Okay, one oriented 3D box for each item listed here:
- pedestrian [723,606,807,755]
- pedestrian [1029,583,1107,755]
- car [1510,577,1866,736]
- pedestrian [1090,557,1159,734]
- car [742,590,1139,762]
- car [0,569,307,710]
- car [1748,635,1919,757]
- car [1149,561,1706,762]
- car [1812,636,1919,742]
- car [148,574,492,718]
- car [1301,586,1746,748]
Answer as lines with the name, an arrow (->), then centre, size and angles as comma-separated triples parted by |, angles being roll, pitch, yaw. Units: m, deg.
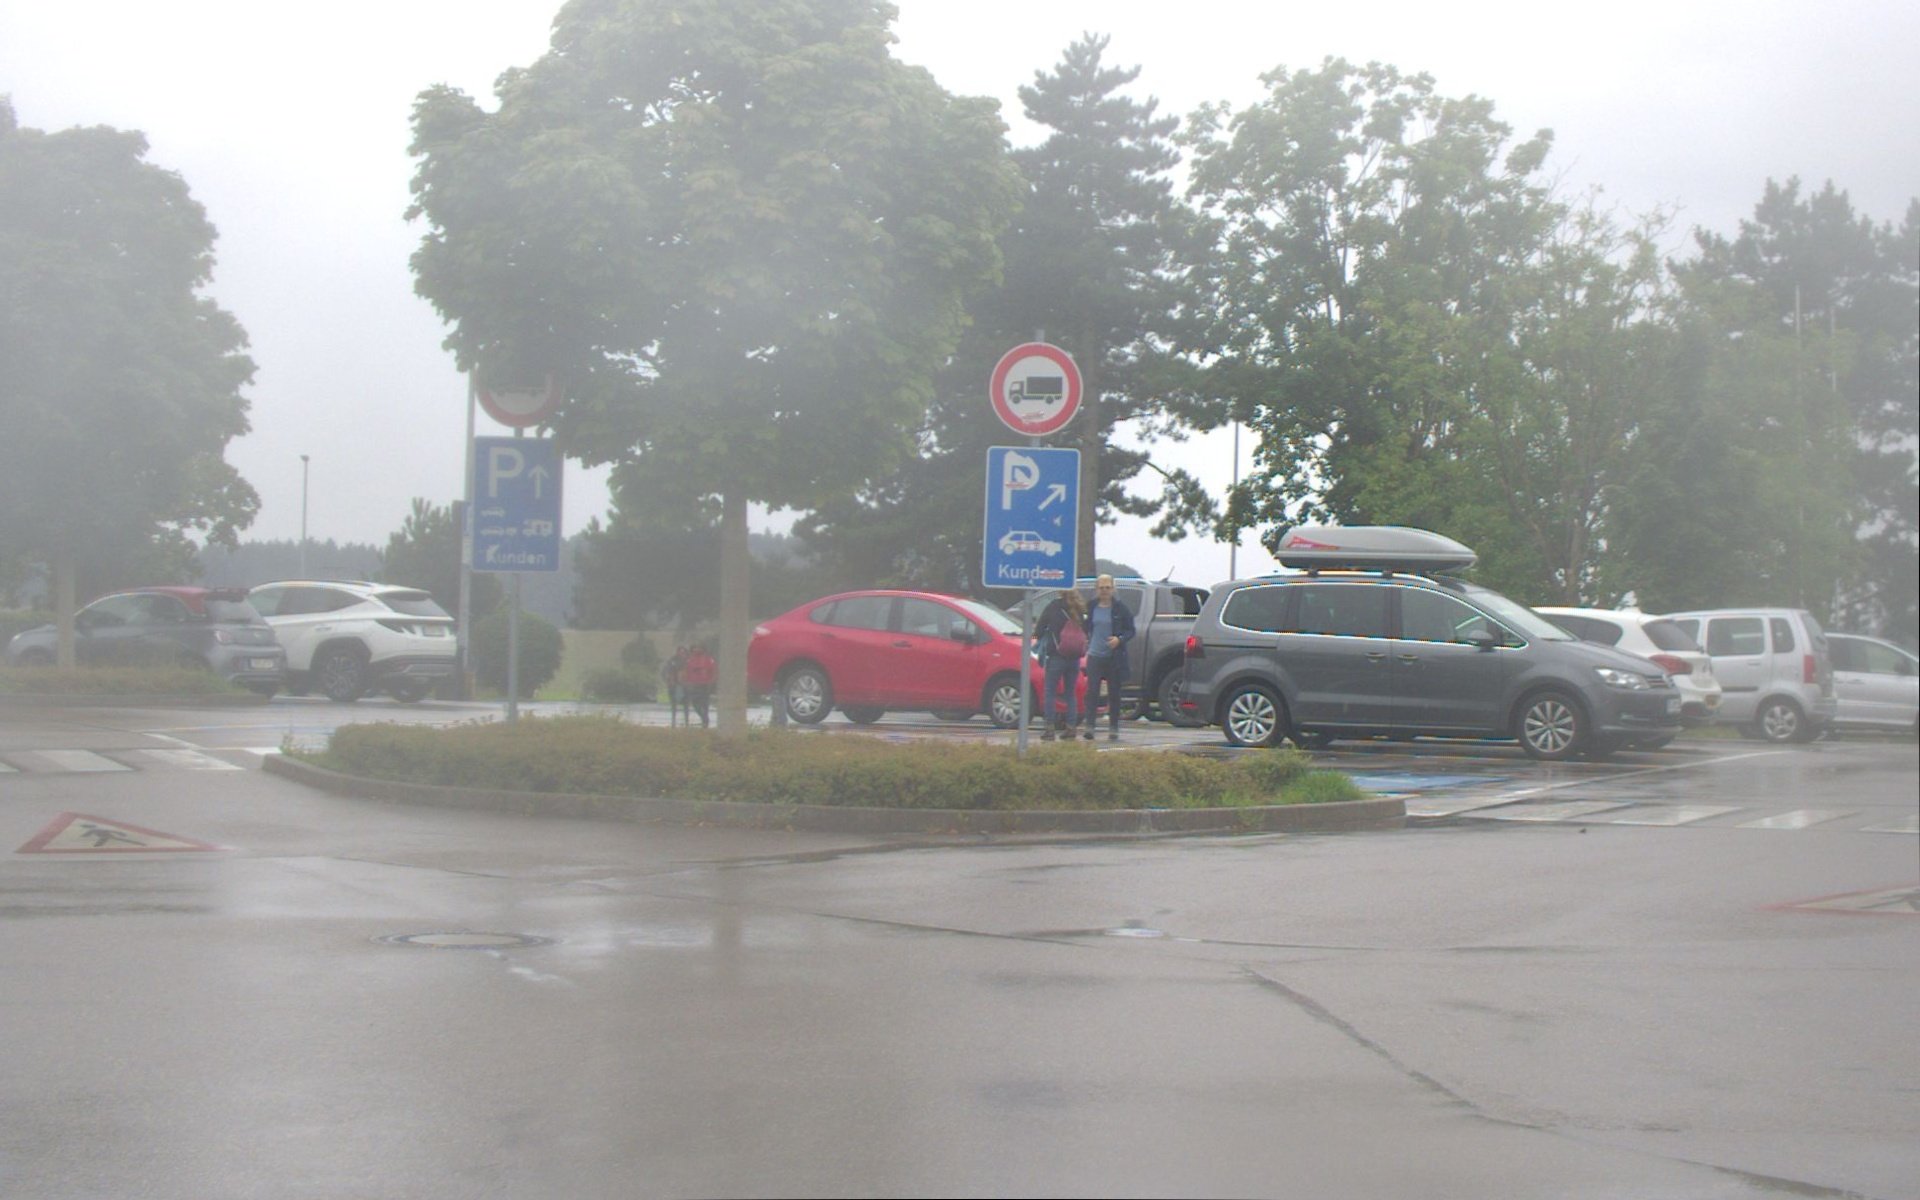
pedestrian -> -1.827, 0.750, 32.149 | 0.642, 1.357, 0.452 | 3, -2, -16
pedestrian -> 1.046, 0.672, 33.267 | 0.714, 1.633, 0.646 | 1, -2, 3
car -> 9.082, 0.705, 42.867 | 4.015, 1.856, 1.848 | 1, -2, 24
pedestrian -> 1.643, 0.462, 34.215 | 0.609, 1.719, 0.683 | 2, -2, 4
car -> -0.217, 0.809, 38.359 | 4.015, 1.786, 1.848 | 1, 0, 24
car -> -10.664, 0.508, 44.512 | 4.018, 1.710, 1.718 | 1, -2, 24
car -> 14.906, 1.549, 54.587 | 4.360, 1.856, 1.848 | 1, -2, 24
car -> 4.488, 0.550, 33.074 | 4.941, 1.786, 1.997 | 1, 0, 24
car -> 17.812, 1.645, 62.206 | 4.360, 1.856, 1.848 | 2, -1, 24
car -> -8.758, 0.625, 47.037 | 4.360, 1.856, 1.718 | 1, -2, 24
car -> 5.790, 0.647, 35.388 | 4.190, 1.512, 1.741 | 1, 1, 26
